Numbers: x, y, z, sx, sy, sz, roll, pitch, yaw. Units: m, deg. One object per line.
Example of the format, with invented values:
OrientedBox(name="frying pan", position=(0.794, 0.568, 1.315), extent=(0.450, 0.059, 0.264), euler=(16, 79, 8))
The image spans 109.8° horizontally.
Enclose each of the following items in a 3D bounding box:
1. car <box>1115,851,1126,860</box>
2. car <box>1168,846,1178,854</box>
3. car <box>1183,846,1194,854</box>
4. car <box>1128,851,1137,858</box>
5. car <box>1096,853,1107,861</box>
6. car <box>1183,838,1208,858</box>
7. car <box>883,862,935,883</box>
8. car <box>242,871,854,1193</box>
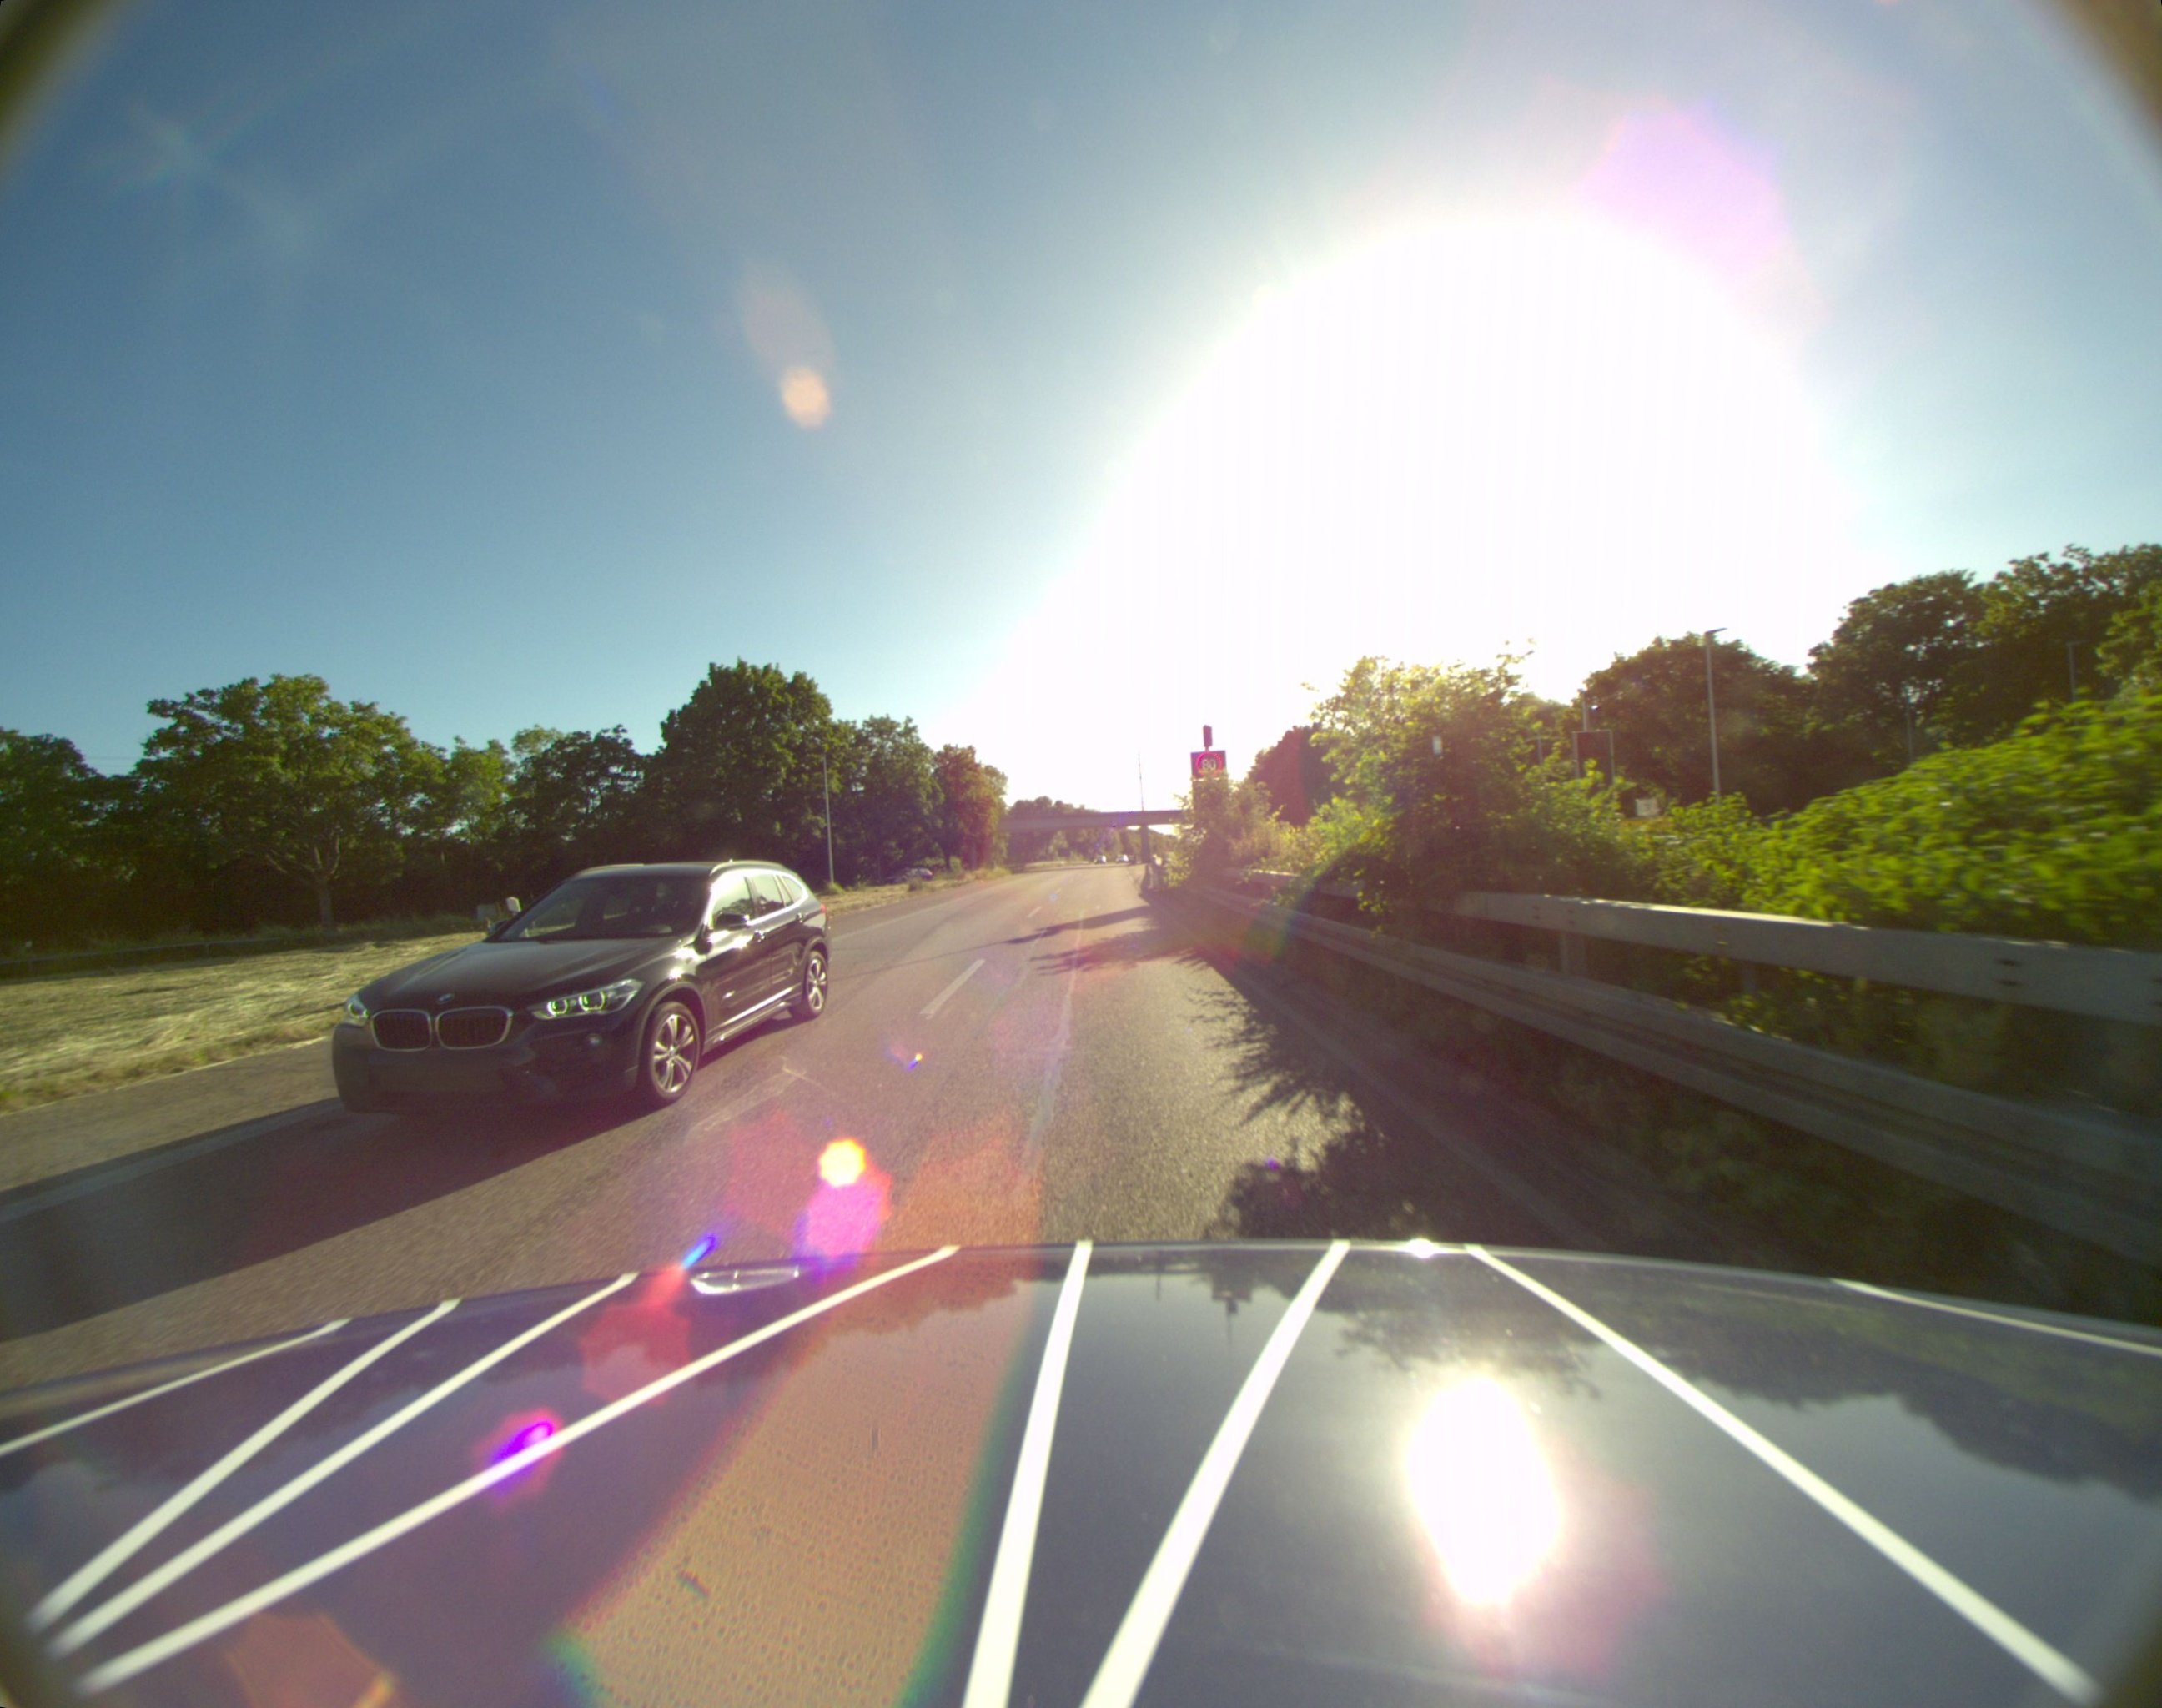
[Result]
OrientedBox(name="car", position=(6.760, 0.319, 130.817), extent=(1.725, 1.412, 3.670), euler=(-3, 0, 3))
OrientedBox(name="car", position=(19.297, -0.827, 159.511), extent=(1.791, 1.569, 4.533), euler=(-2, 0, 4))
OrientedBox(name="car", position=(24.449, -0.911, 173.188), extent=(1.998, 1.899, 5.522), euler=(-3, 0, 4))
OrientedBox(name="car", position=(11.058, 0.090, 162.898), extent=(1.725, 1.412, 3.671), euler=(-3, 0, 5))
OrientedBox(name="car", position=(3.581, 0.498, 131.626), extent=(1.682, 1.412, 3.670), euler=(-3, 0, 4))
OrientedBox(name="car", position=(10.786, -0.599, 71.586), extent=(1.720, 1.566, 4.162), euler=(-6, 2, 2))
OrientedBox(name="car", position=(-13.531, 1.449, 59.845), extent=(1.760, 1.401, 4.062), euler=(-3, 0, 26))
OrientedBox(name="car", position=(-3.541, 1.013, 6.338), extent=(1.759, 1.564, 4.521), euler=(-2, 0, 2))
